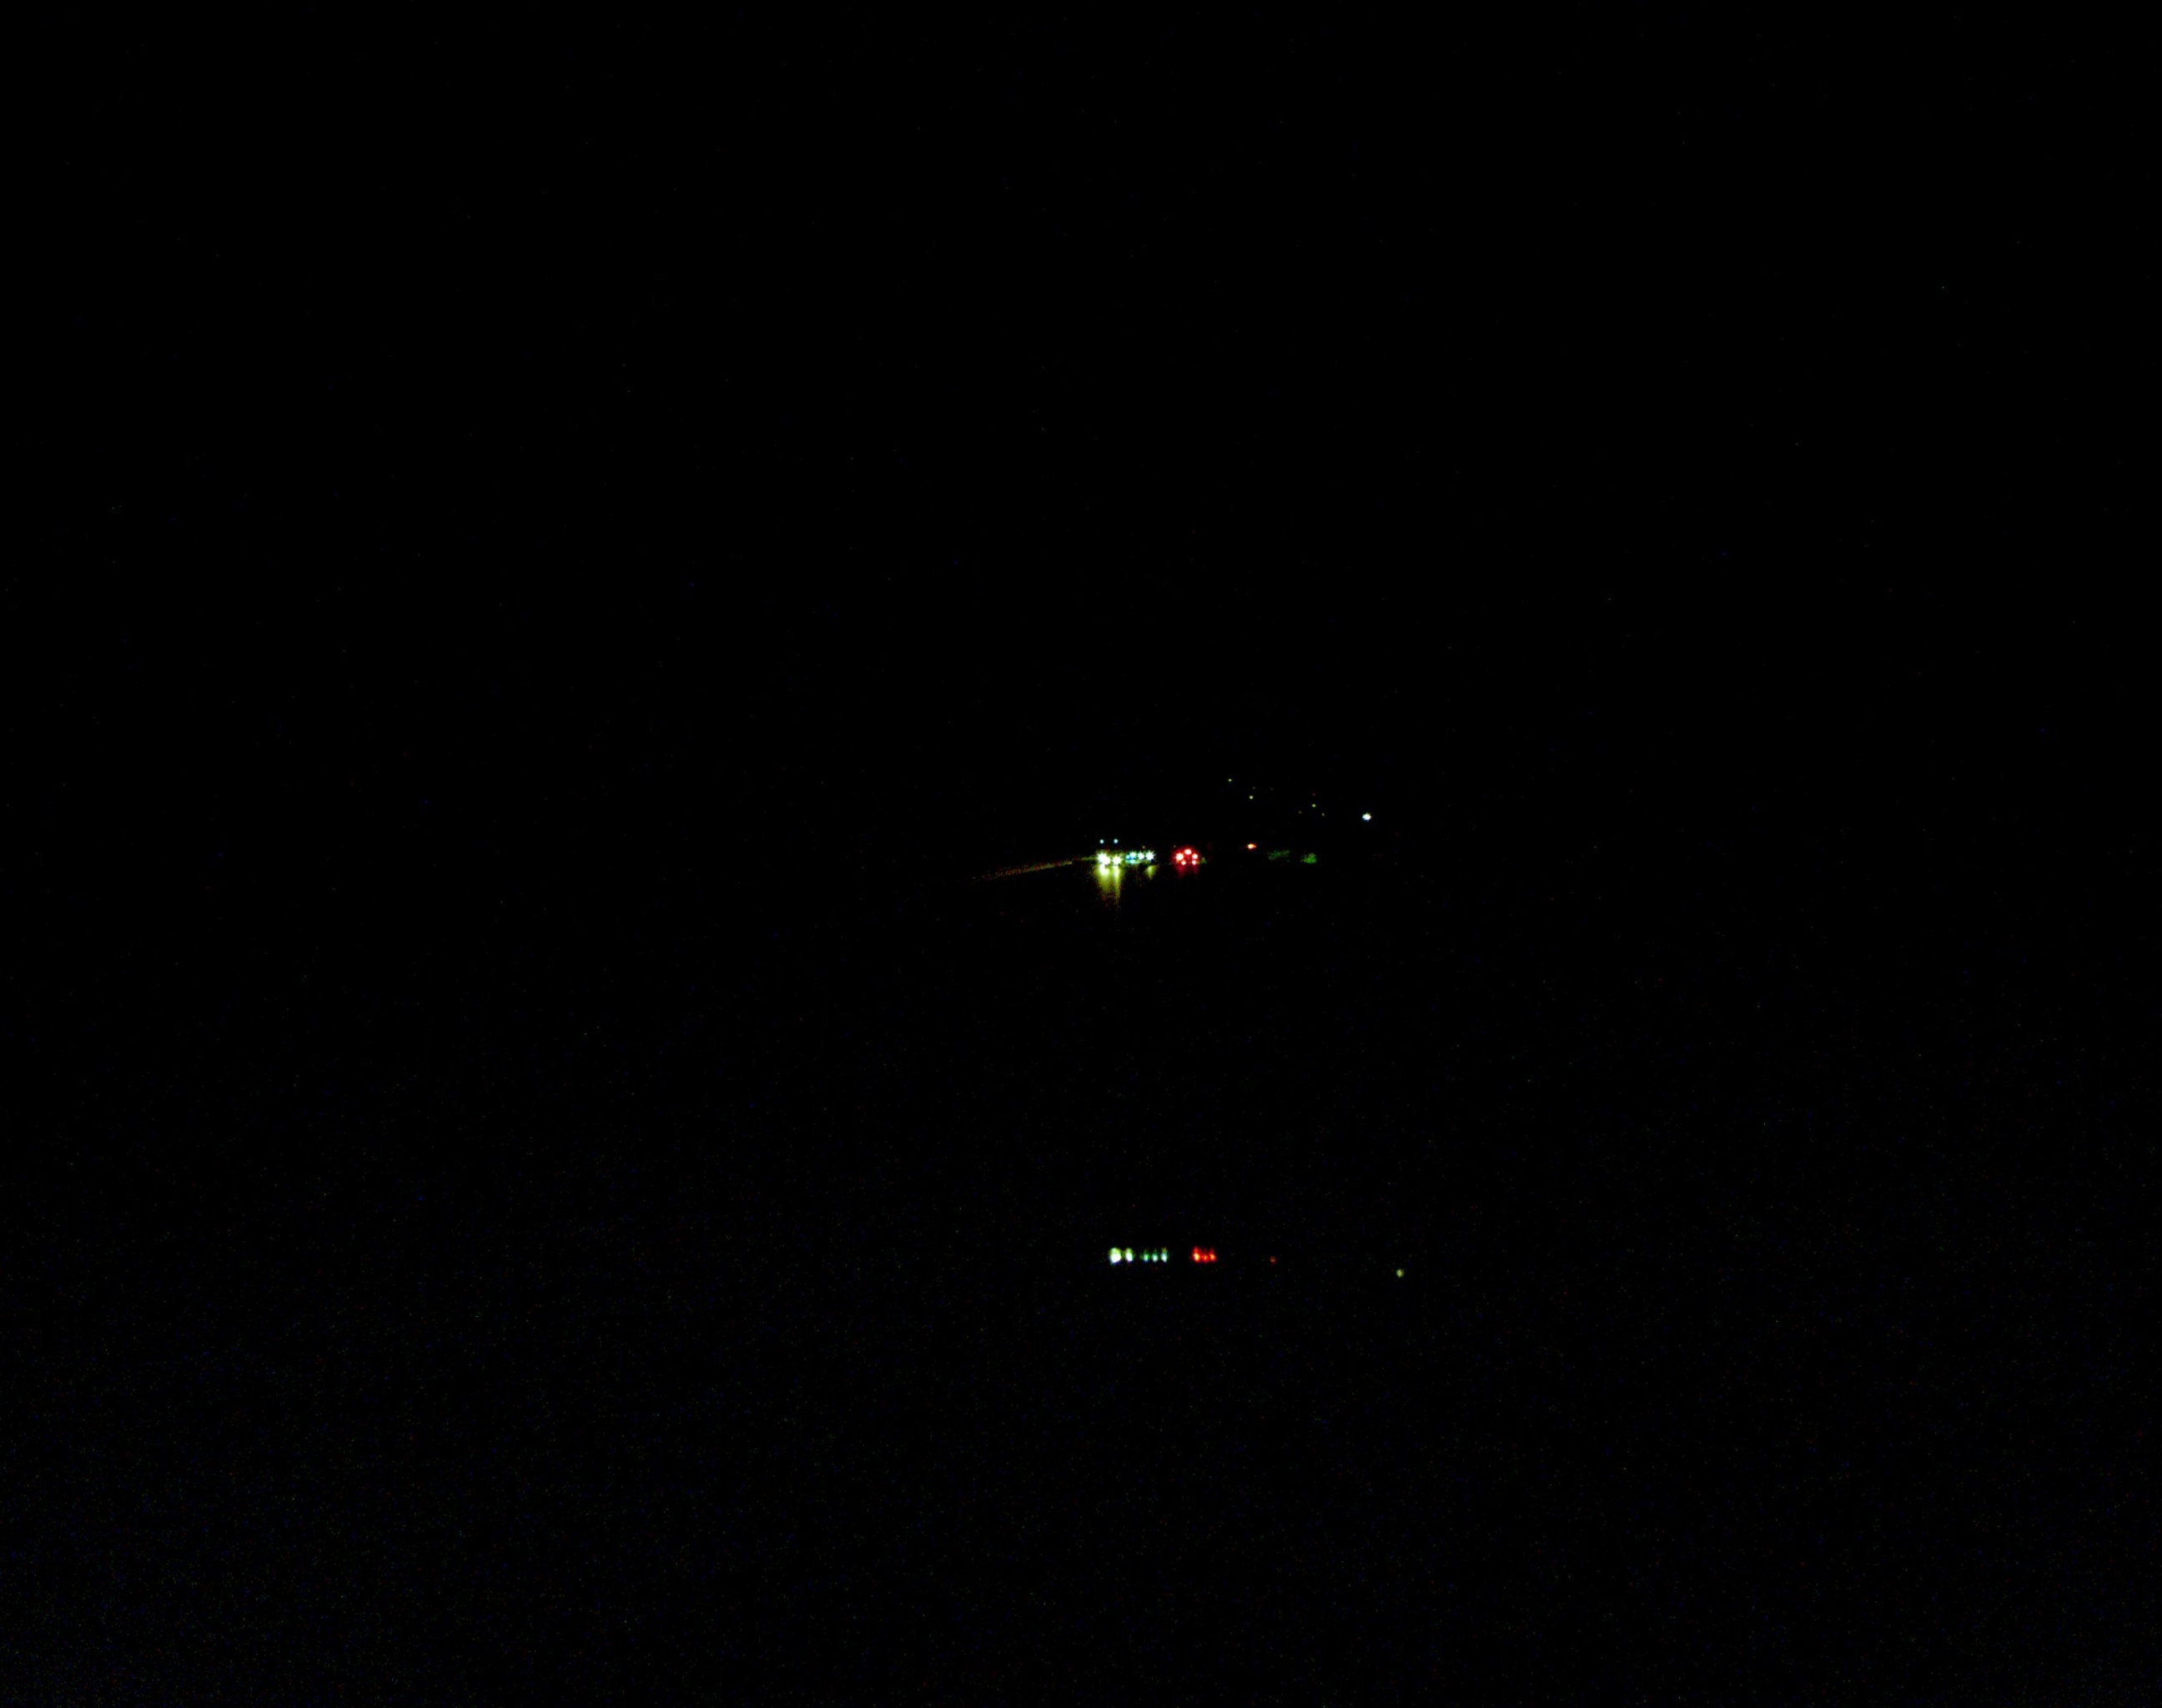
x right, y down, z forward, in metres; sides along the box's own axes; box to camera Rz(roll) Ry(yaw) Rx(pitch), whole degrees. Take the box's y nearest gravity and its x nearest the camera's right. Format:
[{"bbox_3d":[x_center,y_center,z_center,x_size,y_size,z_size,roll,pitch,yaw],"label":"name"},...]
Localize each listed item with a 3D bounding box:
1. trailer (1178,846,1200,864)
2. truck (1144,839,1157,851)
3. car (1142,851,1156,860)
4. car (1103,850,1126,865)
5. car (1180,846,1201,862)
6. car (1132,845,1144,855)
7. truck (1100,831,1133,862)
[{"bbox_3d":[10.913,0.077,76.570,2.016,1.630,3.419,-1,1,9],"label":"trailer"},{"bbox_3d":[15.203,-1.952,165.661,2.425,2.410,7.094,-1,1,7],"label":"truck"},{"bbox_3d":[11.097,0.282,123.780,1.811,1.508,3.939,-1,0,11],"label":"car"},{"bbox_3d":[3.571,0.378,80.123,1.811,1.508,3.939,-1,0,10],"label":"car"},{"bbox_3d":[11.609,-0.027,80.649,2.016,1.630,4.865,-1,1,10],"label":"car"},{"bbox_3d":[10.316,-0.735,138.180,1.690,1.619,4.726,-1,0,10],"label":"car"},{"bbox_3d":[5.513,-1.293,114.113,2.970,4.251,17.152,-1,1,9],"label":"truck"}]
